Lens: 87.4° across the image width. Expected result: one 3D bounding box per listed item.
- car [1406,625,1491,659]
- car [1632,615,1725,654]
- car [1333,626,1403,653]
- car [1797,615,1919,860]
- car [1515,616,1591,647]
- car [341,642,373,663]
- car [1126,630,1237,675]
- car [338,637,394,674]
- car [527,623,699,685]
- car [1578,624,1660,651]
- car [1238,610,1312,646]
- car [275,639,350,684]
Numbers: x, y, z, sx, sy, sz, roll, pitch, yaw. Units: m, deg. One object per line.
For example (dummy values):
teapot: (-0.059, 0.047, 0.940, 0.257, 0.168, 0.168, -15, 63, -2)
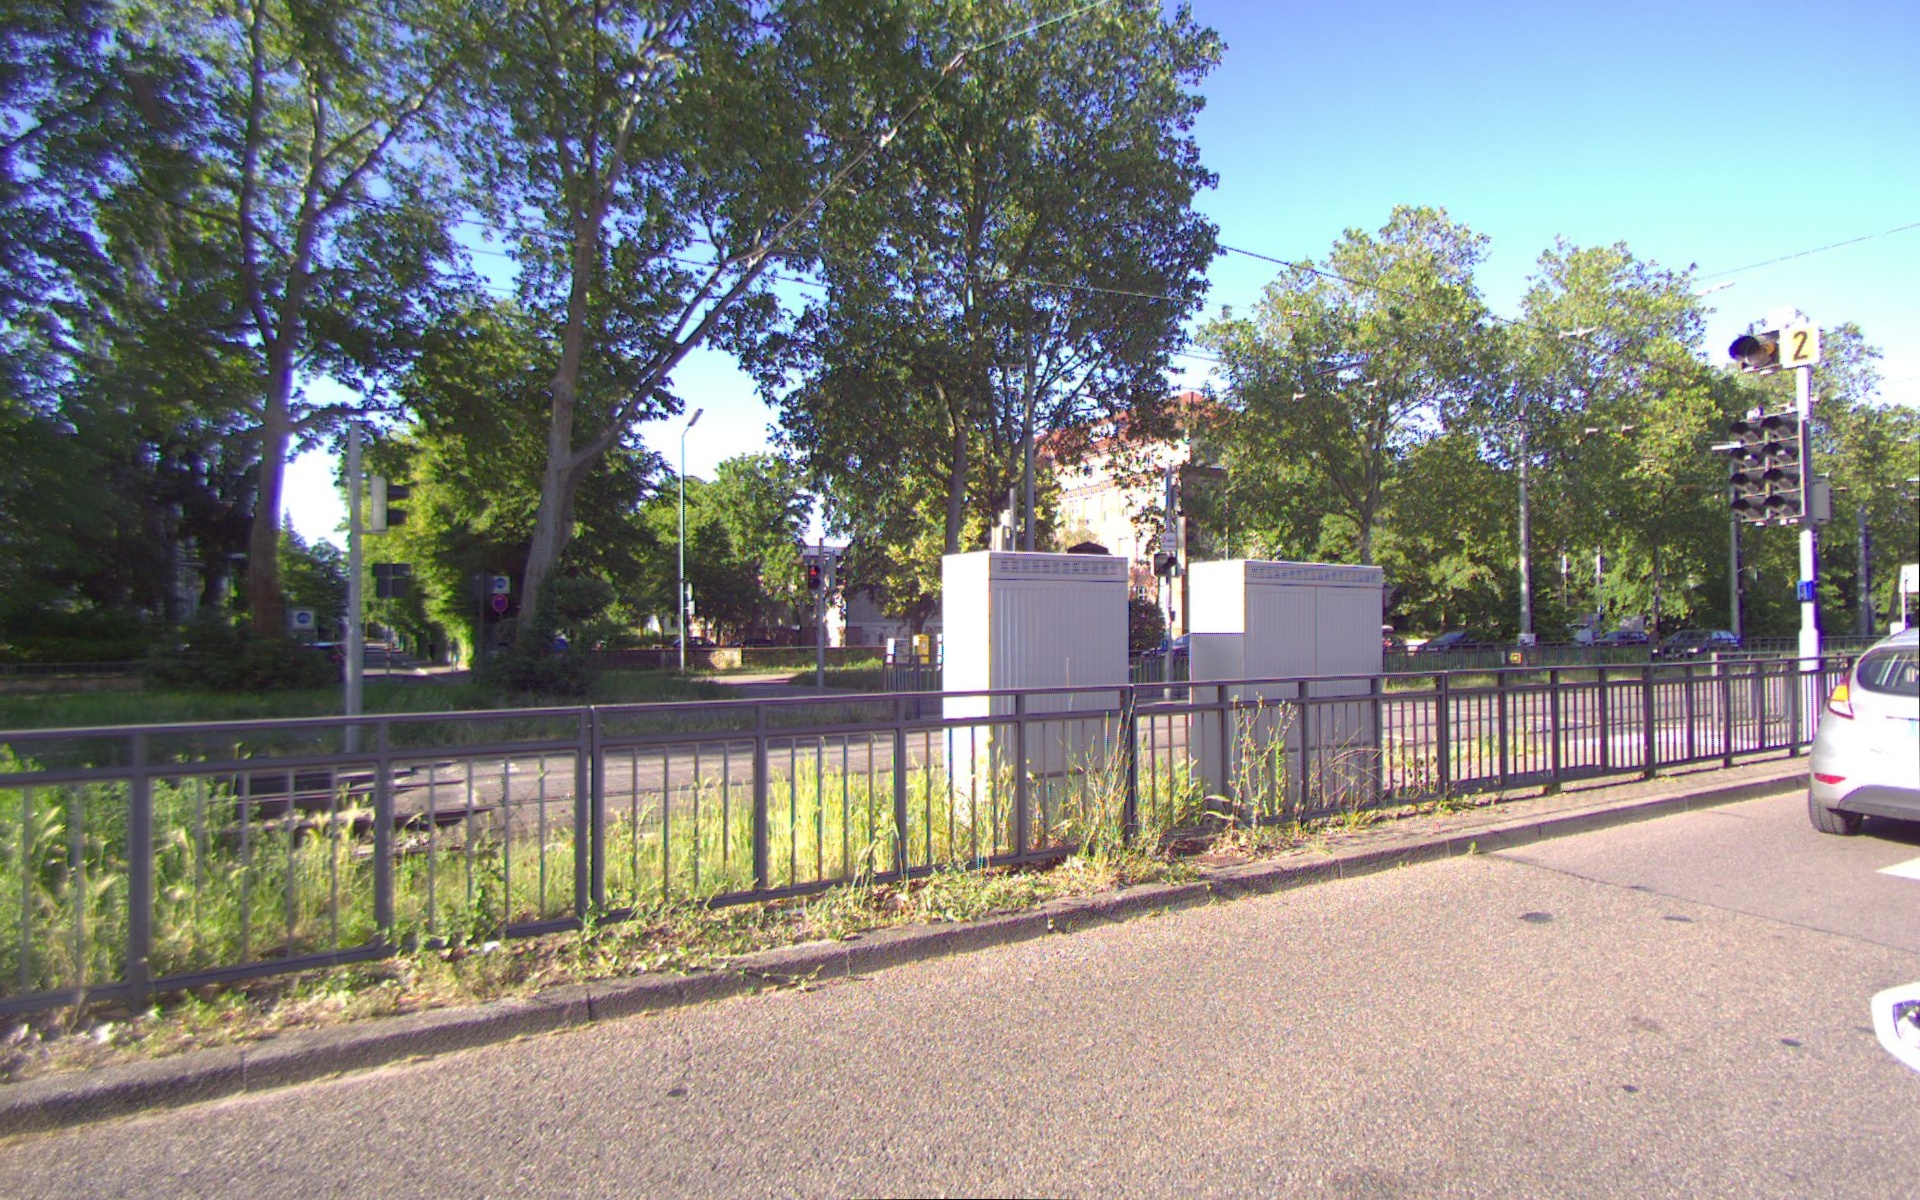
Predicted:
car: (22.851, 1.949, 46.957, 4.098, 1.529, 1.661, 1, -2, -32)
car: (29.356, 1.371, 40.999, 4.297, 1.518, 1.674, 1, -1, -33)
car: (24.111, 2.297, 59.451, 1.375, 1.514, 3.974, 0, -1, -26)
car: (7.508, 0.844, 7.010, 3.850, 1.487, 1.599, 1, -1, -35)
car: (30.339, 1.566, 51.382, 4.098, 1.529, 1.660, 1, -1, -32)
car: (-35.646, 3.094, 59.411, 1.513, 1.134, 3.102, 0, -2, -29)
car: (8.346, 1.927, 37.715, 4.098, 1.529, 1.661, 0, -1, -32)
car: (-25.915, 2.395, 43.914, 1.976, 1.437, 3.970, 0, -1, -29)
car: (-9.249, 1.392, 26.878, 4.098, 1.529, 1.660, 1, -1, -32)
car: (35.722, 2.032, 54.419, 4.795, 1.367, 1.926, 2, -2, -32)
car: (18.388, 1.620, 58.652, 3.953, 2.040, 1.984, 0, -1, -30)
car: (-23.160, 2.143, 36.038, 1.976, 1.437, 3.970, 0, -1, -29)
